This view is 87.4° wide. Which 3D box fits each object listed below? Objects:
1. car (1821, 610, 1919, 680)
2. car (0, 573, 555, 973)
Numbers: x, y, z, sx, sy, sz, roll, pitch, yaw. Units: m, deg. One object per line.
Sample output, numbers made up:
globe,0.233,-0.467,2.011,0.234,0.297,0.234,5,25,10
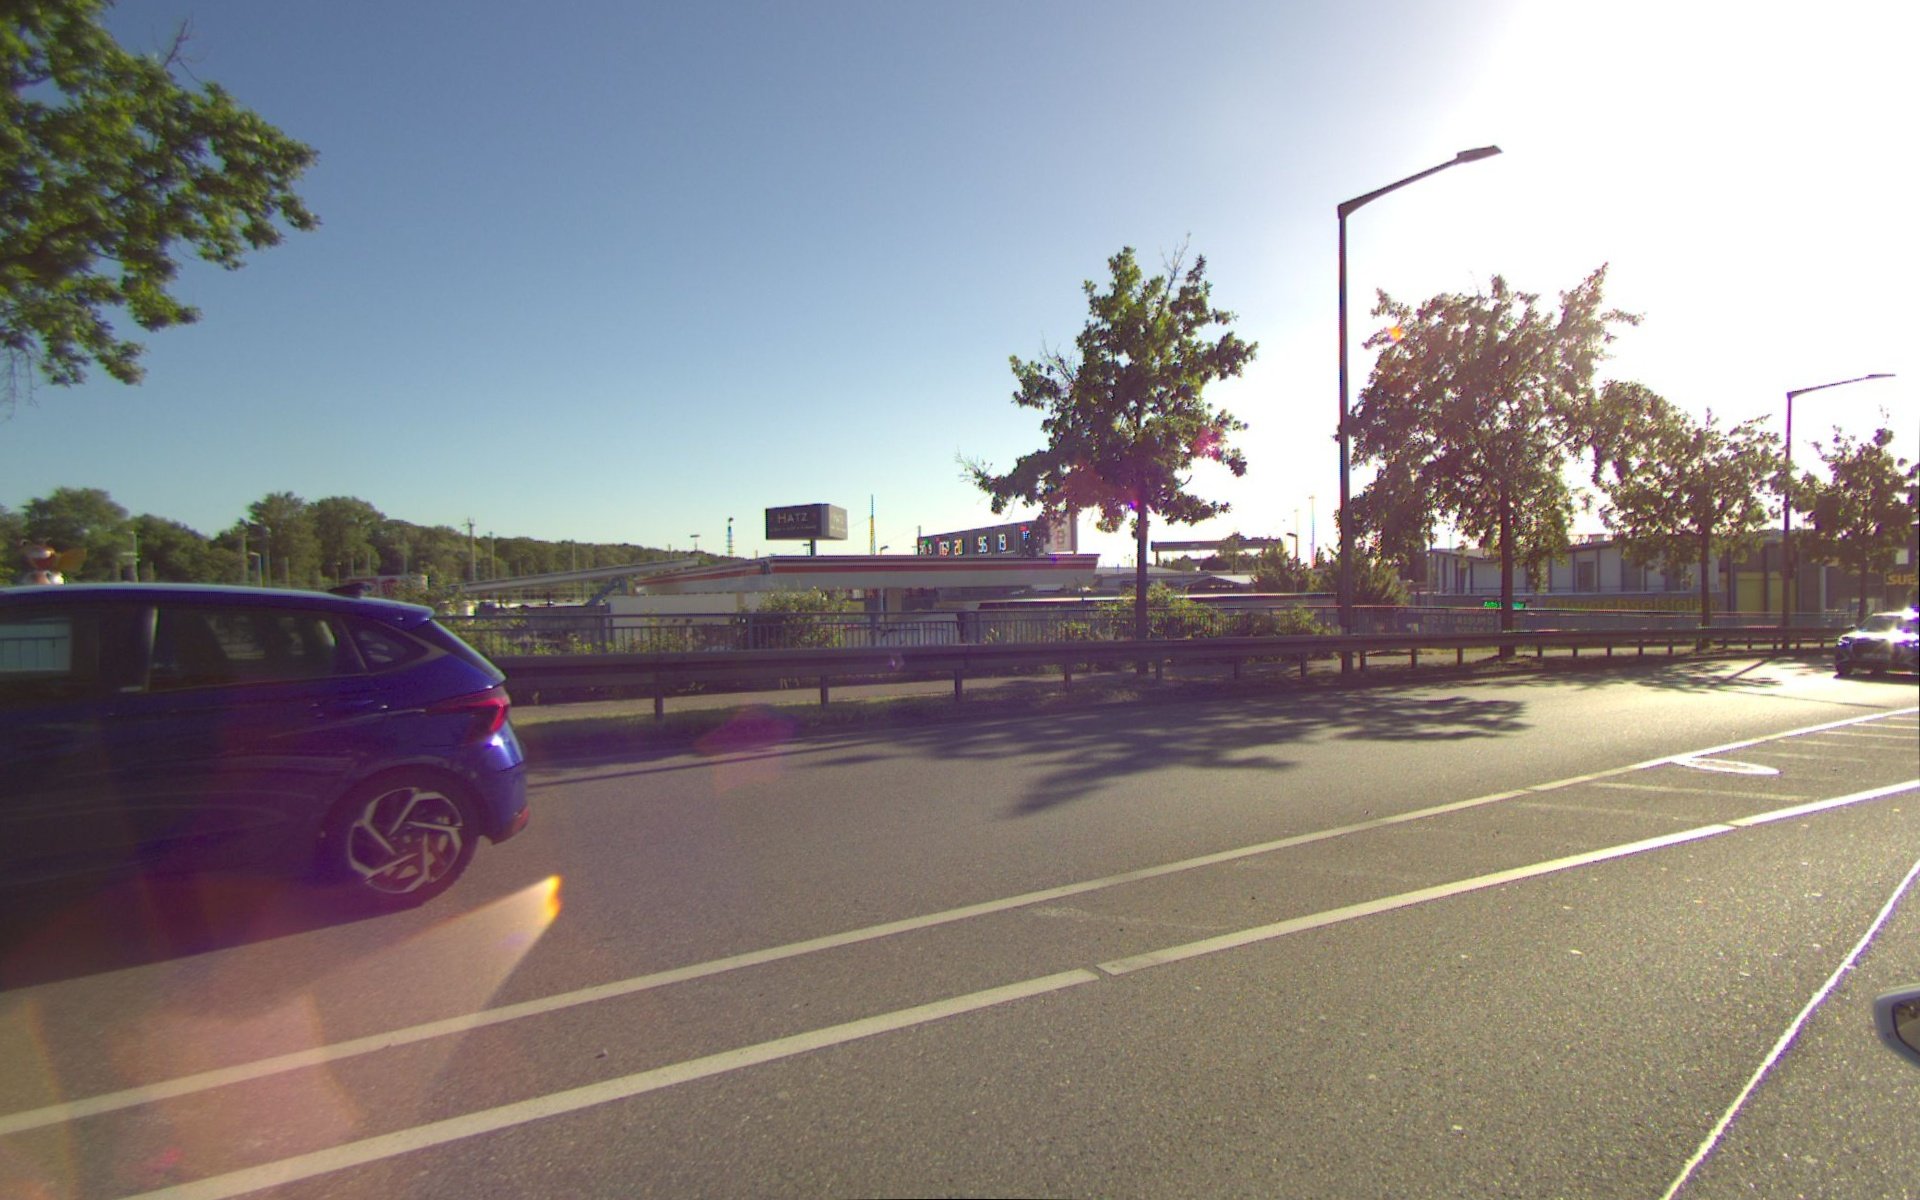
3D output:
car,22.925,1.059,24.535,4.231,1.509,1.751,1,1,-33
car,-3.965,0.631,4.358,3.814,1.465,1.652,1,0,-37
